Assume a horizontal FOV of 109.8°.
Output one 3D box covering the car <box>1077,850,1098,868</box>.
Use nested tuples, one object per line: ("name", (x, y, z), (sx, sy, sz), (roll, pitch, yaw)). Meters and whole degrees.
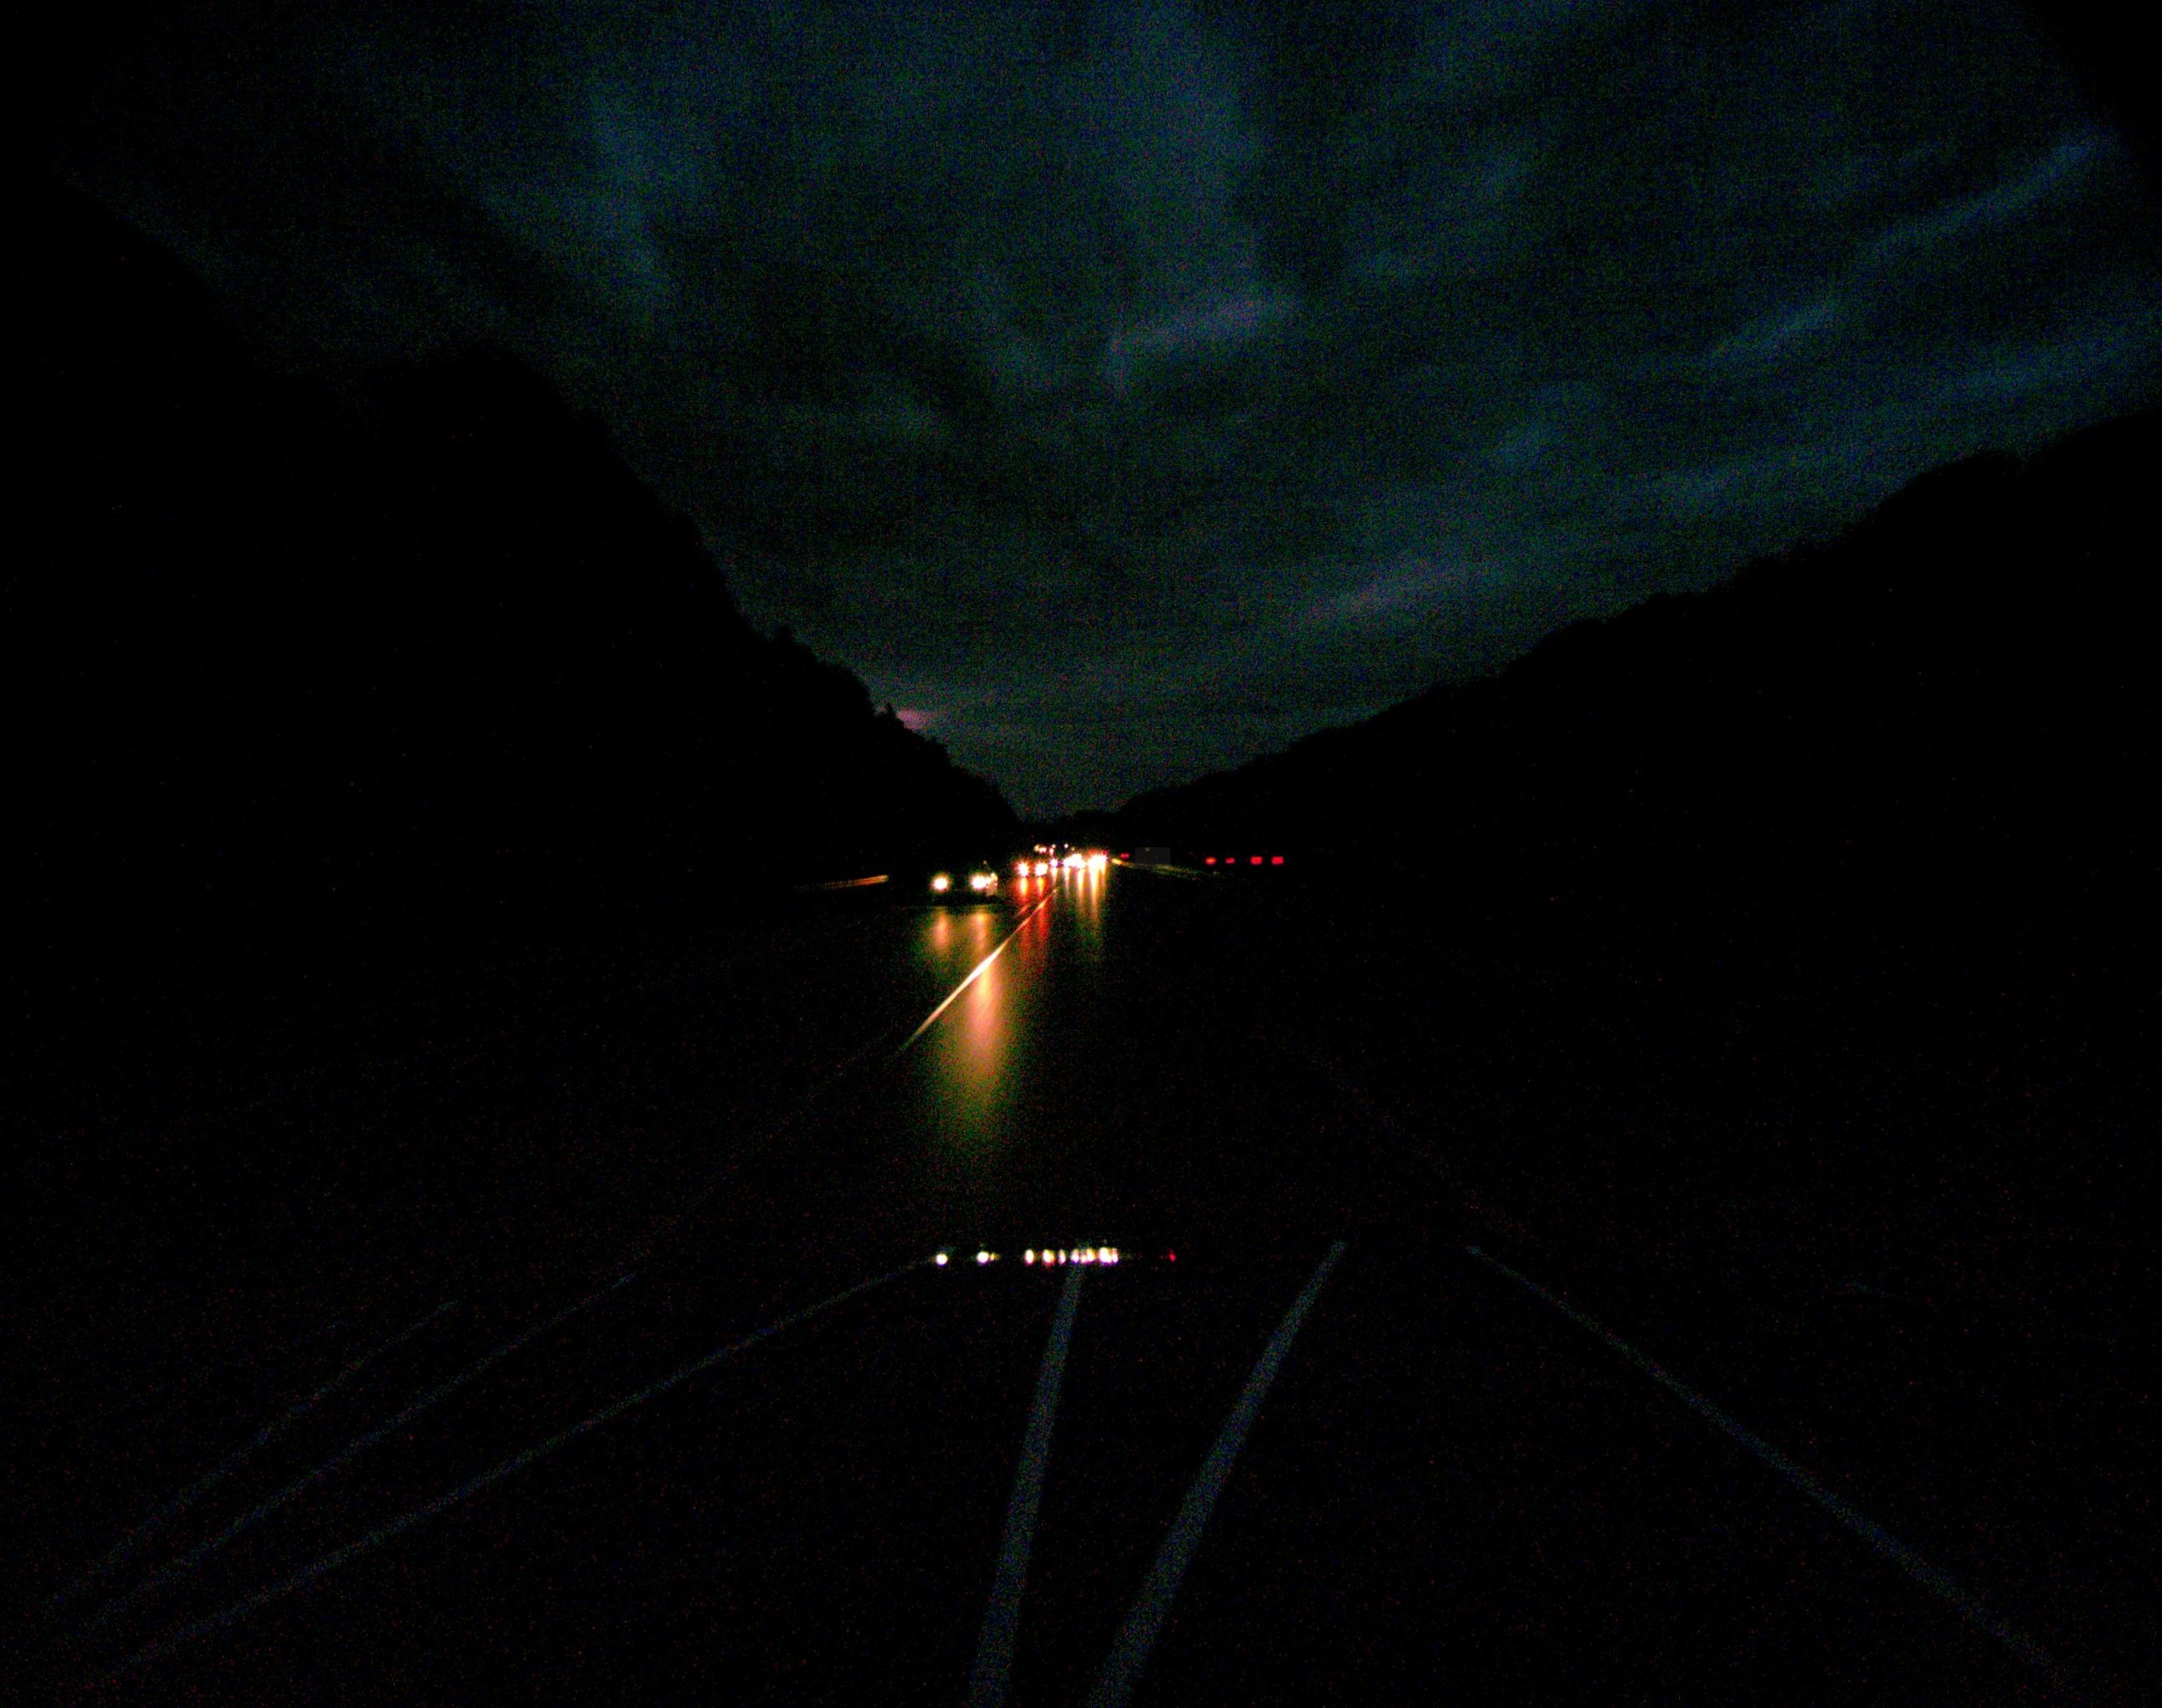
("car", (0.770, 0.529, 83.191), (1.869, 1.701, 4.584), (-2, 1, 4))

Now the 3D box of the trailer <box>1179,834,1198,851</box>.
("trailer", (28.240, -3.048, 199.441), (3.199, 4.081, 13.738), (-2, 1, 1))

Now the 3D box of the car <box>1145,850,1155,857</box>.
("car", (16.370, -0.135, 180.092), (1.885, 1.565, 4.654), (-1, 0, 0))

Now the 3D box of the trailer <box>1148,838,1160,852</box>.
("trailer", (20.232, -2.528, 211.766), (2.653, 3.908, 10.185), (-1, 0, 1))

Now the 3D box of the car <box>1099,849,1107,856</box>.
("car", (5.351, -0.421, 185.945), (1.695, 1.481, 4.948), (-1, 1, 1))

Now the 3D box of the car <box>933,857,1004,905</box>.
("car", (-3.972, 0.910, 27.582), (1.870, 1.427, 4.582), (-2, 1, 0))

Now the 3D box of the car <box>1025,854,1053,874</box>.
("car", (-3.317, 0.818, 60.240), (1.695, 1.481, 4.951), (-3, -2, 2))

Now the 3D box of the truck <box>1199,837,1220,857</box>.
("truck", (27.856, -1.570, 164.930), (3.198, 4.081, 7.688), (-2, 1, 2))

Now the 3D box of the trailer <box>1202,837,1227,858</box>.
("trailer", (27.765, -1.466, 158.753), (3.198, 4.081, 14.182), (-2, 1, 2))

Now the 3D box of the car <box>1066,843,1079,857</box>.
("car", (-2.262, -1.122, 203.894), (2.998, 3.660, 9.998), (-1, 1, 1))

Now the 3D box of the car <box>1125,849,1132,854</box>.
("car", (15.835, -0.804, 253.756), (1.915, 1.443, 5.354), (-1, 0, 1))

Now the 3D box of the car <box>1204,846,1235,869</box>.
("car", (12.305, 0.274, 67.851), (1.998, 2.002, 5.359), (0, 0, 2))

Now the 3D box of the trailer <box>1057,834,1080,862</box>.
("trailer", (-1.880, -1.100, 123.964), (2.488, 4.050, 13.504), (-2, 2, 4))

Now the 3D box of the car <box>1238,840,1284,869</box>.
("car", (16.085, 0.044, 68.341), (2.319, 2.469, 7.518), (0, 0, -1))

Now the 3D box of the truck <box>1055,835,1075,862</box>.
("truck", (-2.365, -0.855, 116.630), (2.497, 3.946, 5.590), (-2, 2, 3))
